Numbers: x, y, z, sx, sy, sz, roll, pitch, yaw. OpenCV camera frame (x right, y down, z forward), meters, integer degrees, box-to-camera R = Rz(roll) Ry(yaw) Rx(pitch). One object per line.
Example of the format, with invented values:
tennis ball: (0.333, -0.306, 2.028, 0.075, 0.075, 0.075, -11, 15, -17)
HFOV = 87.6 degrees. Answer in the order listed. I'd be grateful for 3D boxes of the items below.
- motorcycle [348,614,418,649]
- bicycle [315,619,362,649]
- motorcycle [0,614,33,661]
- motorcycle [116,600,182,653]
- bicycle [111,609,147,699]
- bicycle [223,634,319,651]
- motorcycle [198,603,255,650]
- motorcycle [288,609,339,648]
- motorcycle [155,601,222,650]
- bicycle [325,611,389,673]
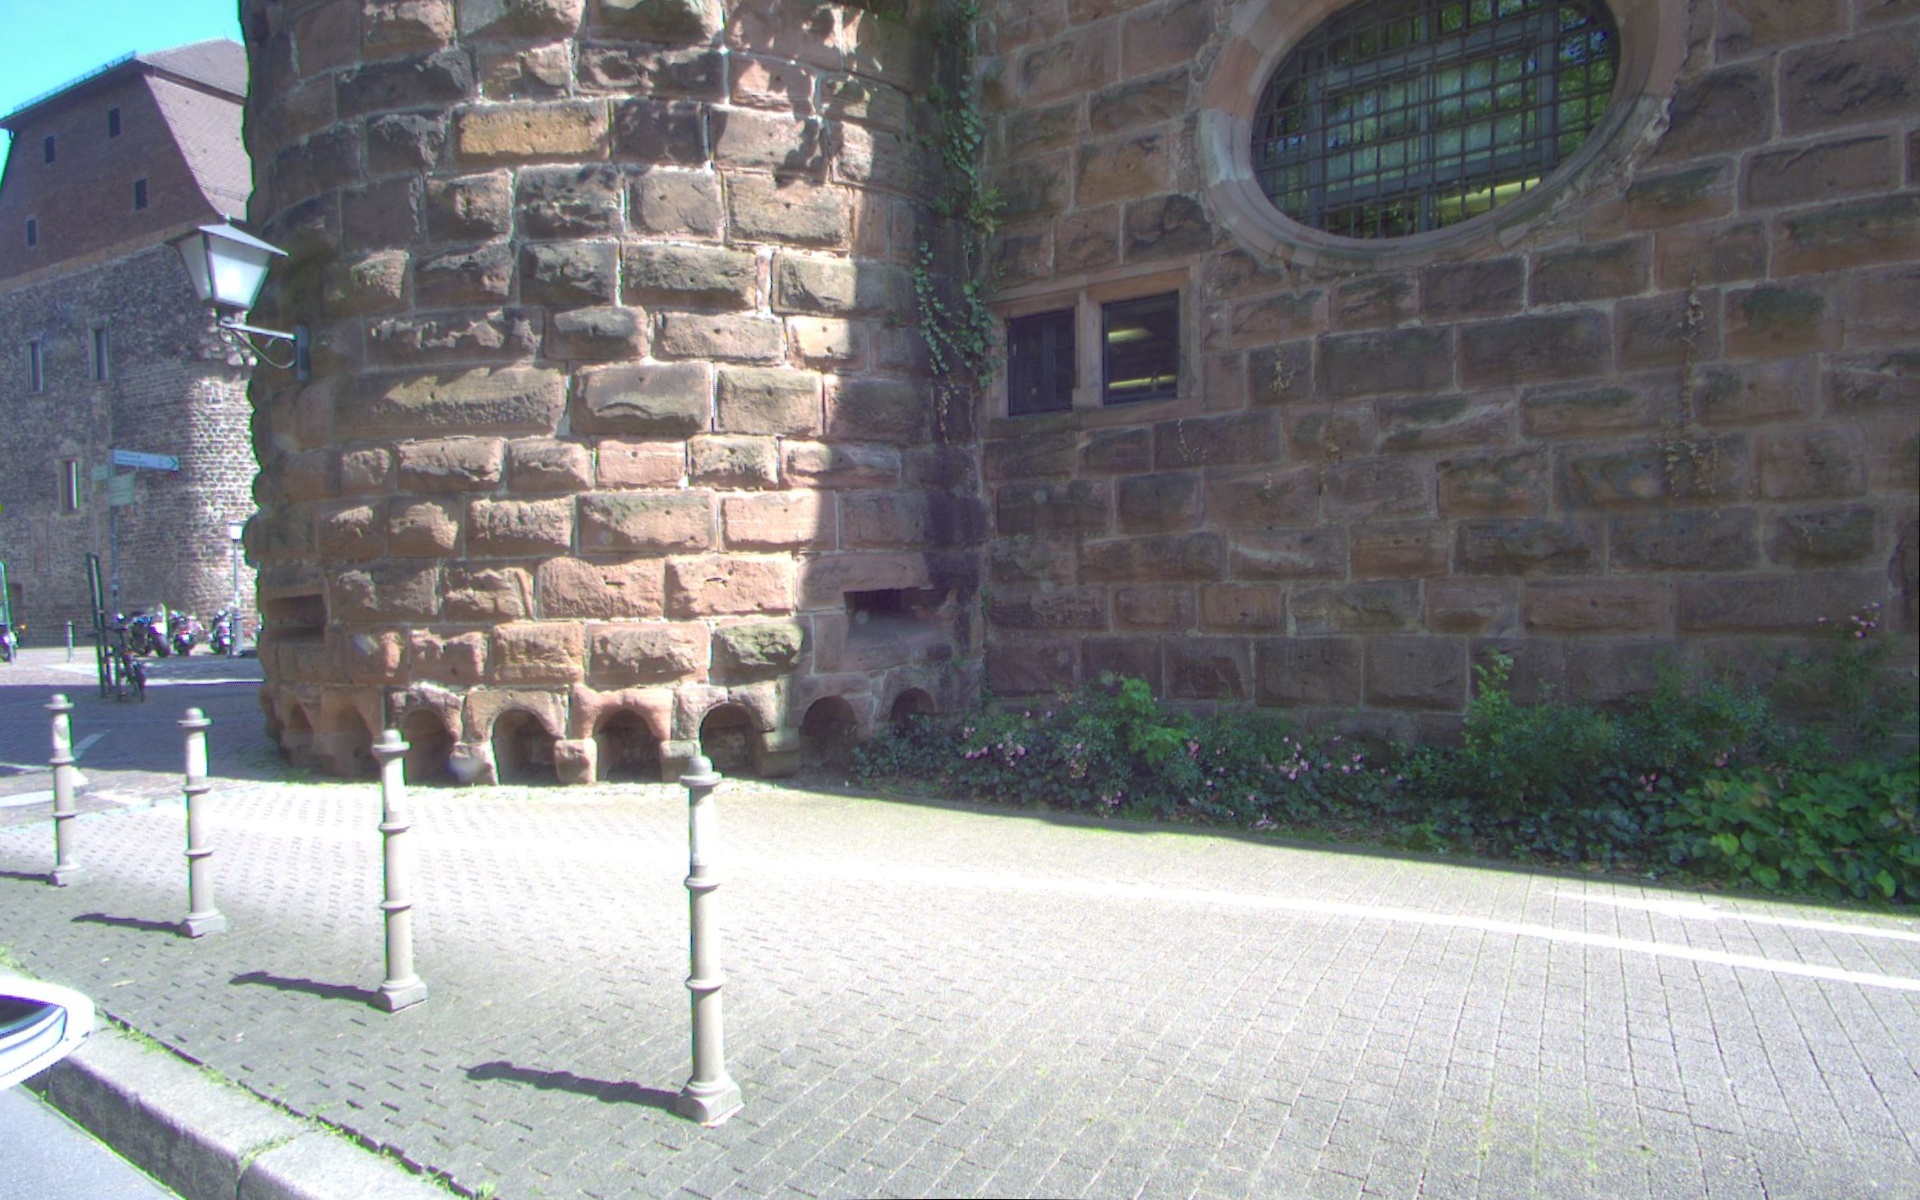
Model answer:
motorcycle: (-18.063, 0.979, 31.376, 0.474, 1.067, 1.858, -1, -2, 40)
bicycle: (-18.390, 0.997, 29.619, 1.898, 0.831, 0.353, 0, -1, 32)
motorcycle: (-22.181, 0.840, 23.048, 2.453, 1.026, 0.565, 0, 1, 32)
motorcycle: (-20.617, 0.675, 25.437, 2.169, 1.282, 0.654, -1, -1, 32)
bicycle: (-12.022, 0.752, 14.475, 1.750, 1.220, 0.192, 0, 1, 44)
bicycle: (-17.579, 1.086, 25.584, 1.916, 0.386, 0.909, 0, -2, -44)
motorcycle: (-19.917, 0.722, 27.180, 2.002, 1.251, 0.545, -1, -2, 32)
motorcycle: (-18.157, 0.809, 28.111, 1.814, 1.087, 0.506, -1, -2, 32)
motorcycle: (-20.373, 0.676, 26.428, 2.280, 1.251, 0.674, -1, -2, 32)
bicycle: (-11.984, 0.804, 19.883, 1.707, 1.178, 0.445, 0, 1, 36)
